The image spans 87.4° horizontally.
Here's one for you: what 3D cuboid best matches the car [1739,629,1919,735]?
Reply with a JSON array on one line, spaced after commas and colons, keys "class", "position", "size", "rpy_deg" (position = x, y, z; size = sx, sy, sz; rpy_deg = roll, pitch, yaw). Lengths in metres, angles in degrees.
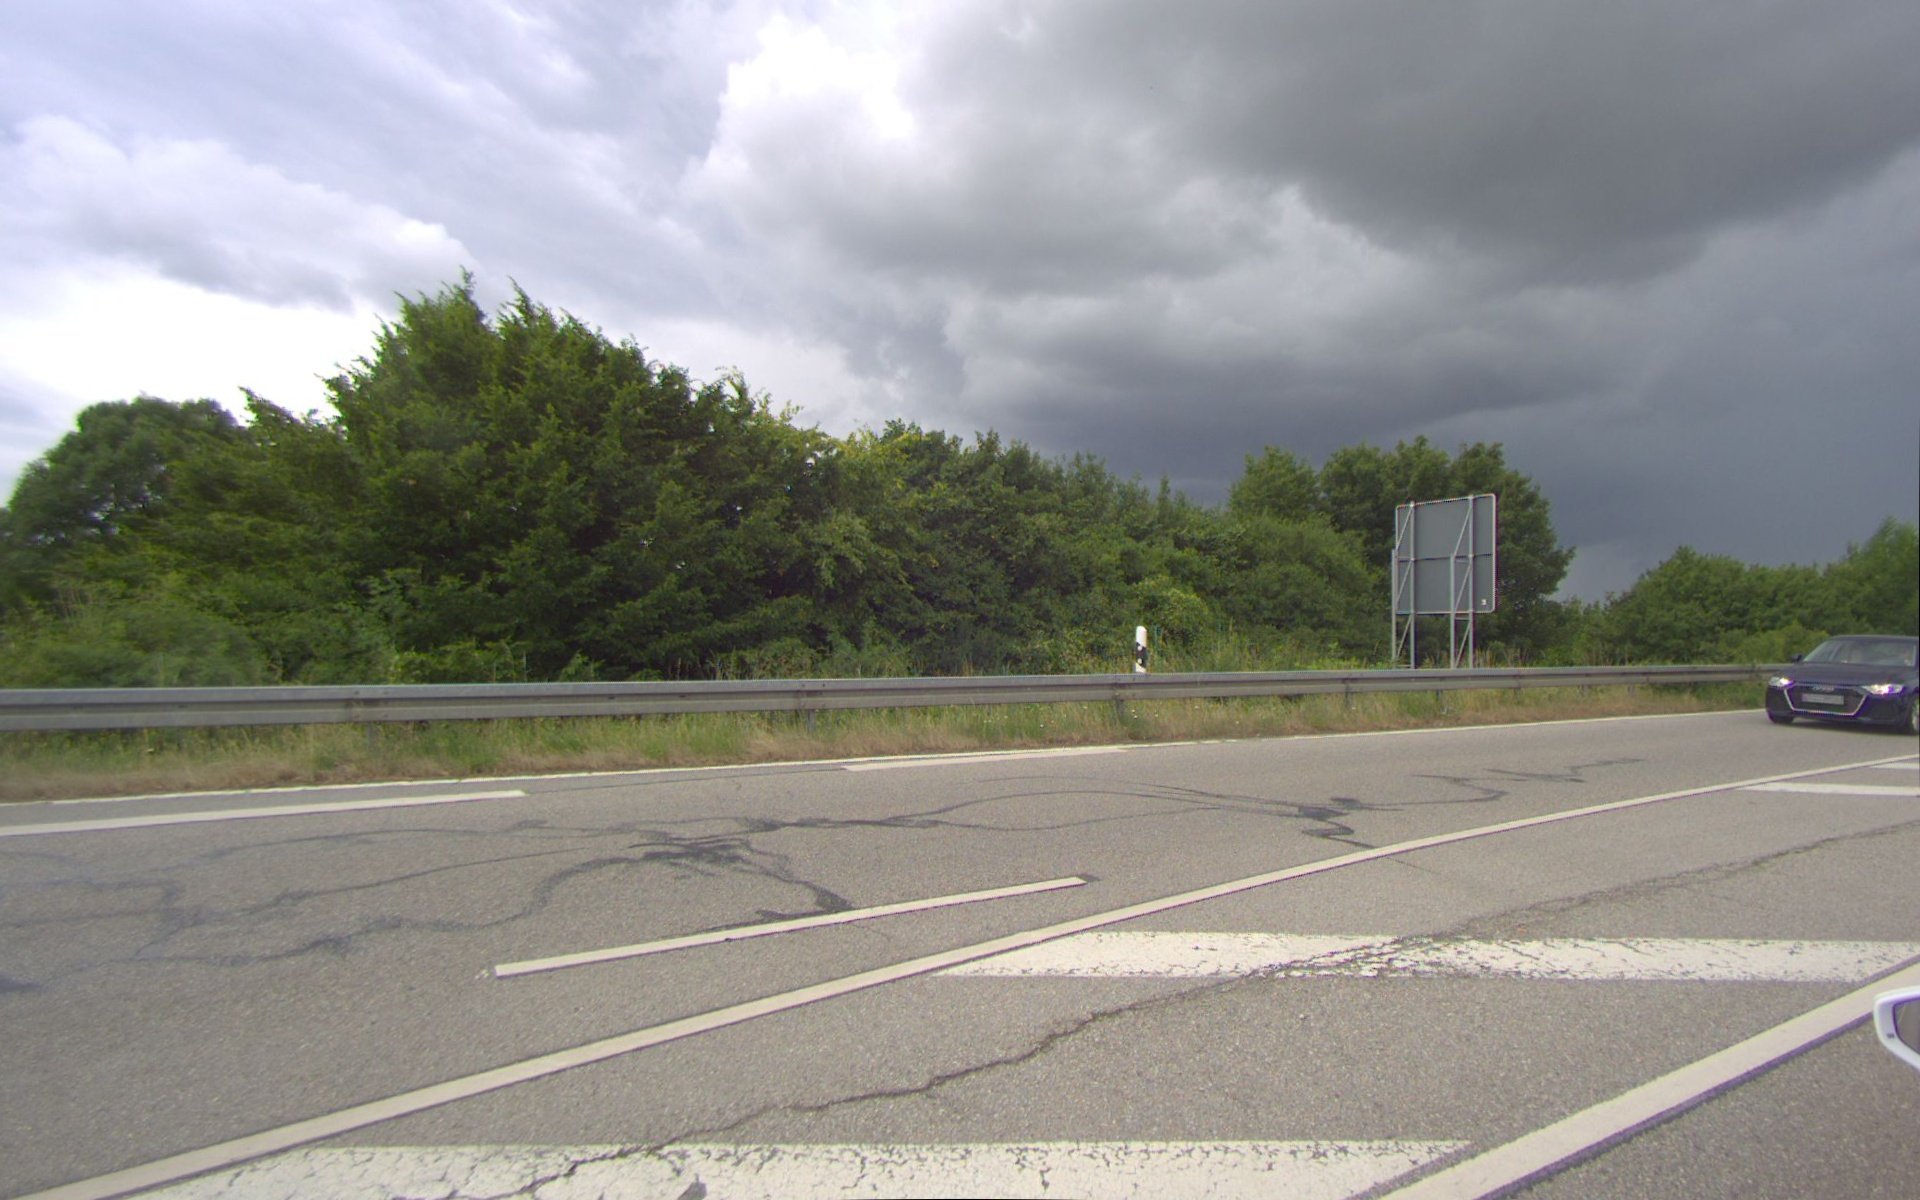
[{"class": "car", "position": [14.177, 1.198, 15.718], "size": [3.955, 1.395, 1.853], "rpy_deg": [1, 0, -31]}]
